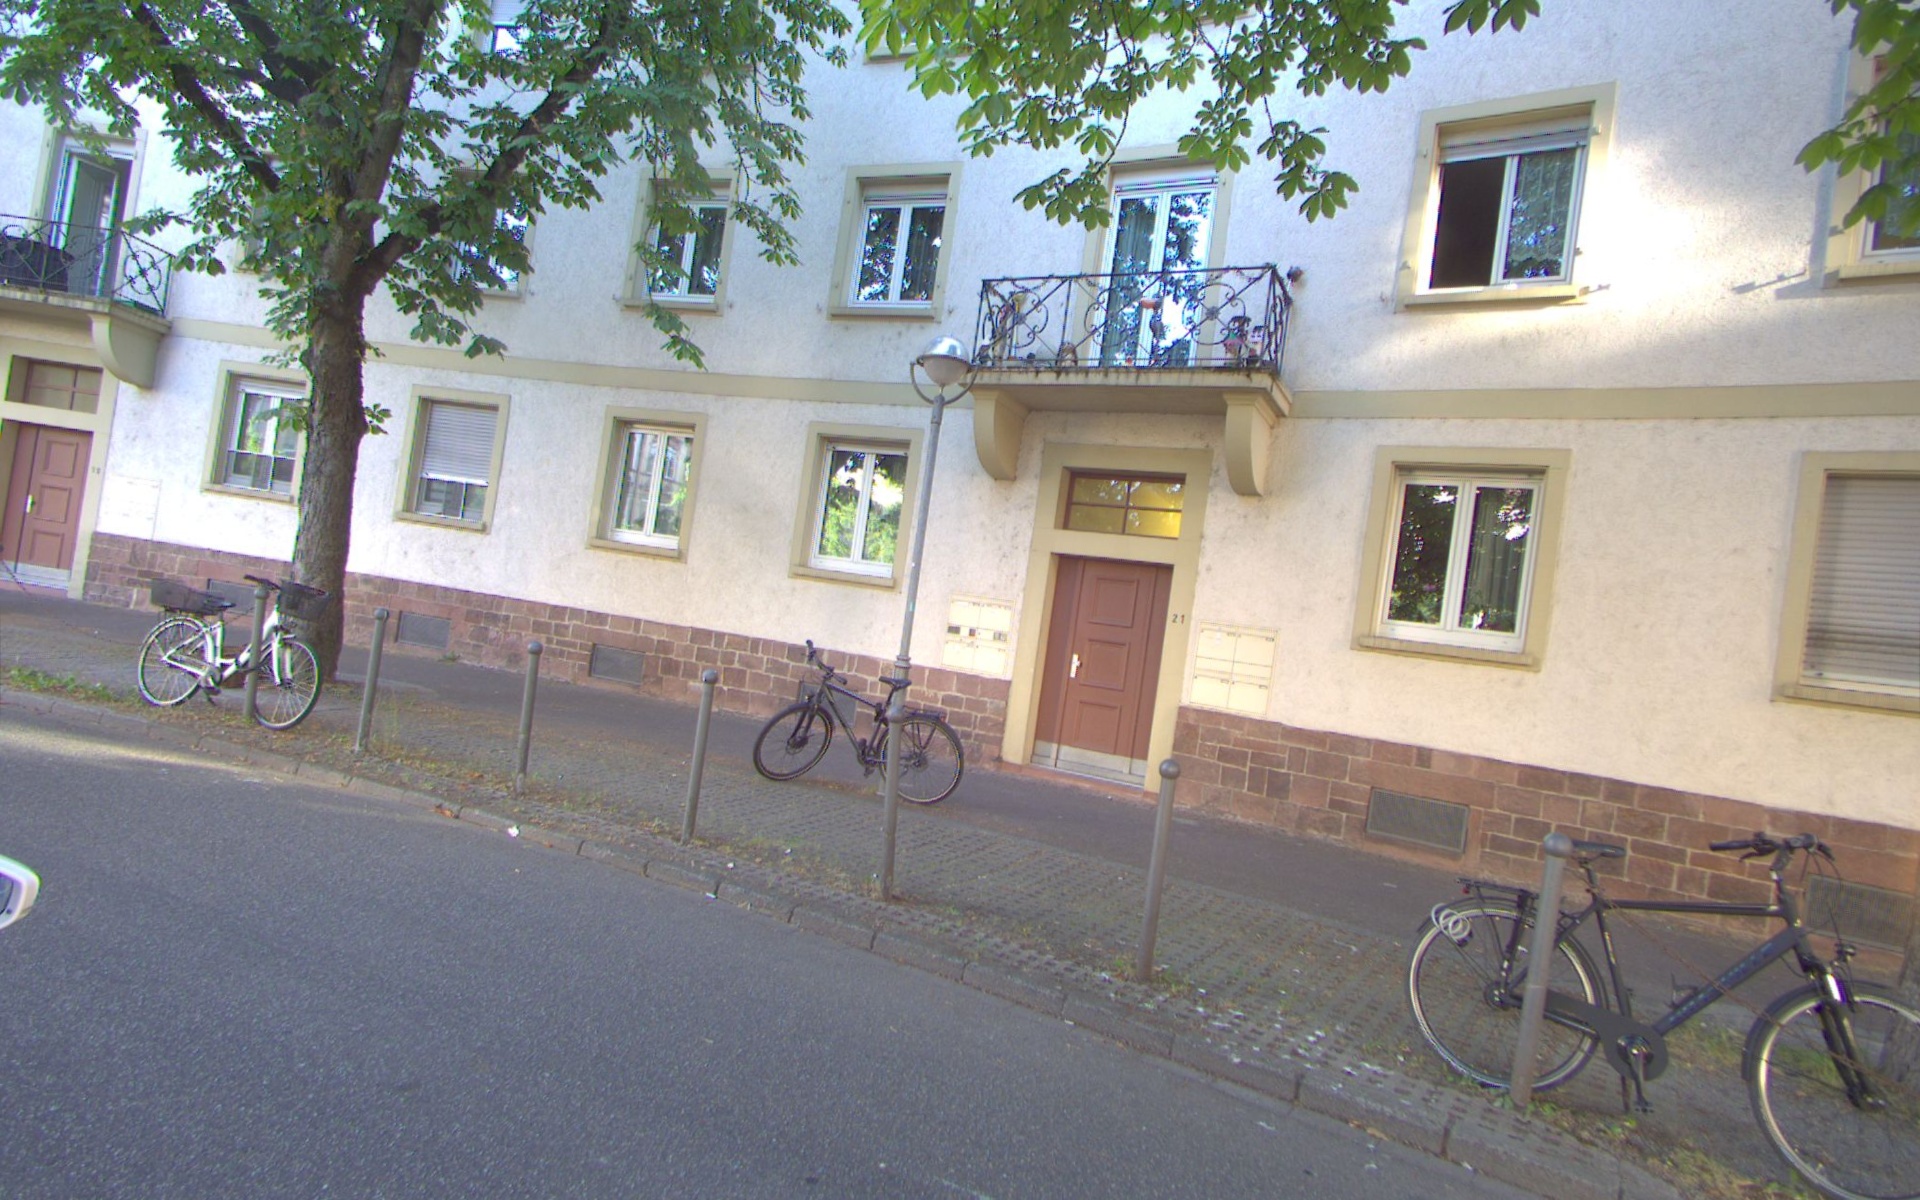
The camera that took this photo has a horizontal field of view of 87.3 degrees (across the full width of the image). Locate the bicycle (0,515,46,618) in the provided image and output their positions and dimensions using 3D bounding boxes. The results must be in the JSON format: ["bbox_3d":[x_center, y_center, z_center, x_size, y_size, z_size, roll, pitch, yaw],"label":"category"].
[{"bbox_3d":[-11.692,-0.508,11.559,1.929,1.120,0.670,8,-2,13],"label":"bicycle"}]

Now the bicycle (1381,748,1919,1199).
[{"bbox_3d":[2.640,1.328,3.626,1.881,1.237,0.719,7,-1,29],"label":"bicycle"}]

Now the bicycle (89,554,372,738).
[{"bbox_3d":[-5.644,0.336,7.789,1.936,1.109,0.514,8,0,12],"label":"bicycle"}]

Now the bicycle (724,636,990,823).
[{"bbox_3d":[-0.782,0.989,7.986,1.823,1.131,0.804,8,-1,8],"label":"bicycle"}]
